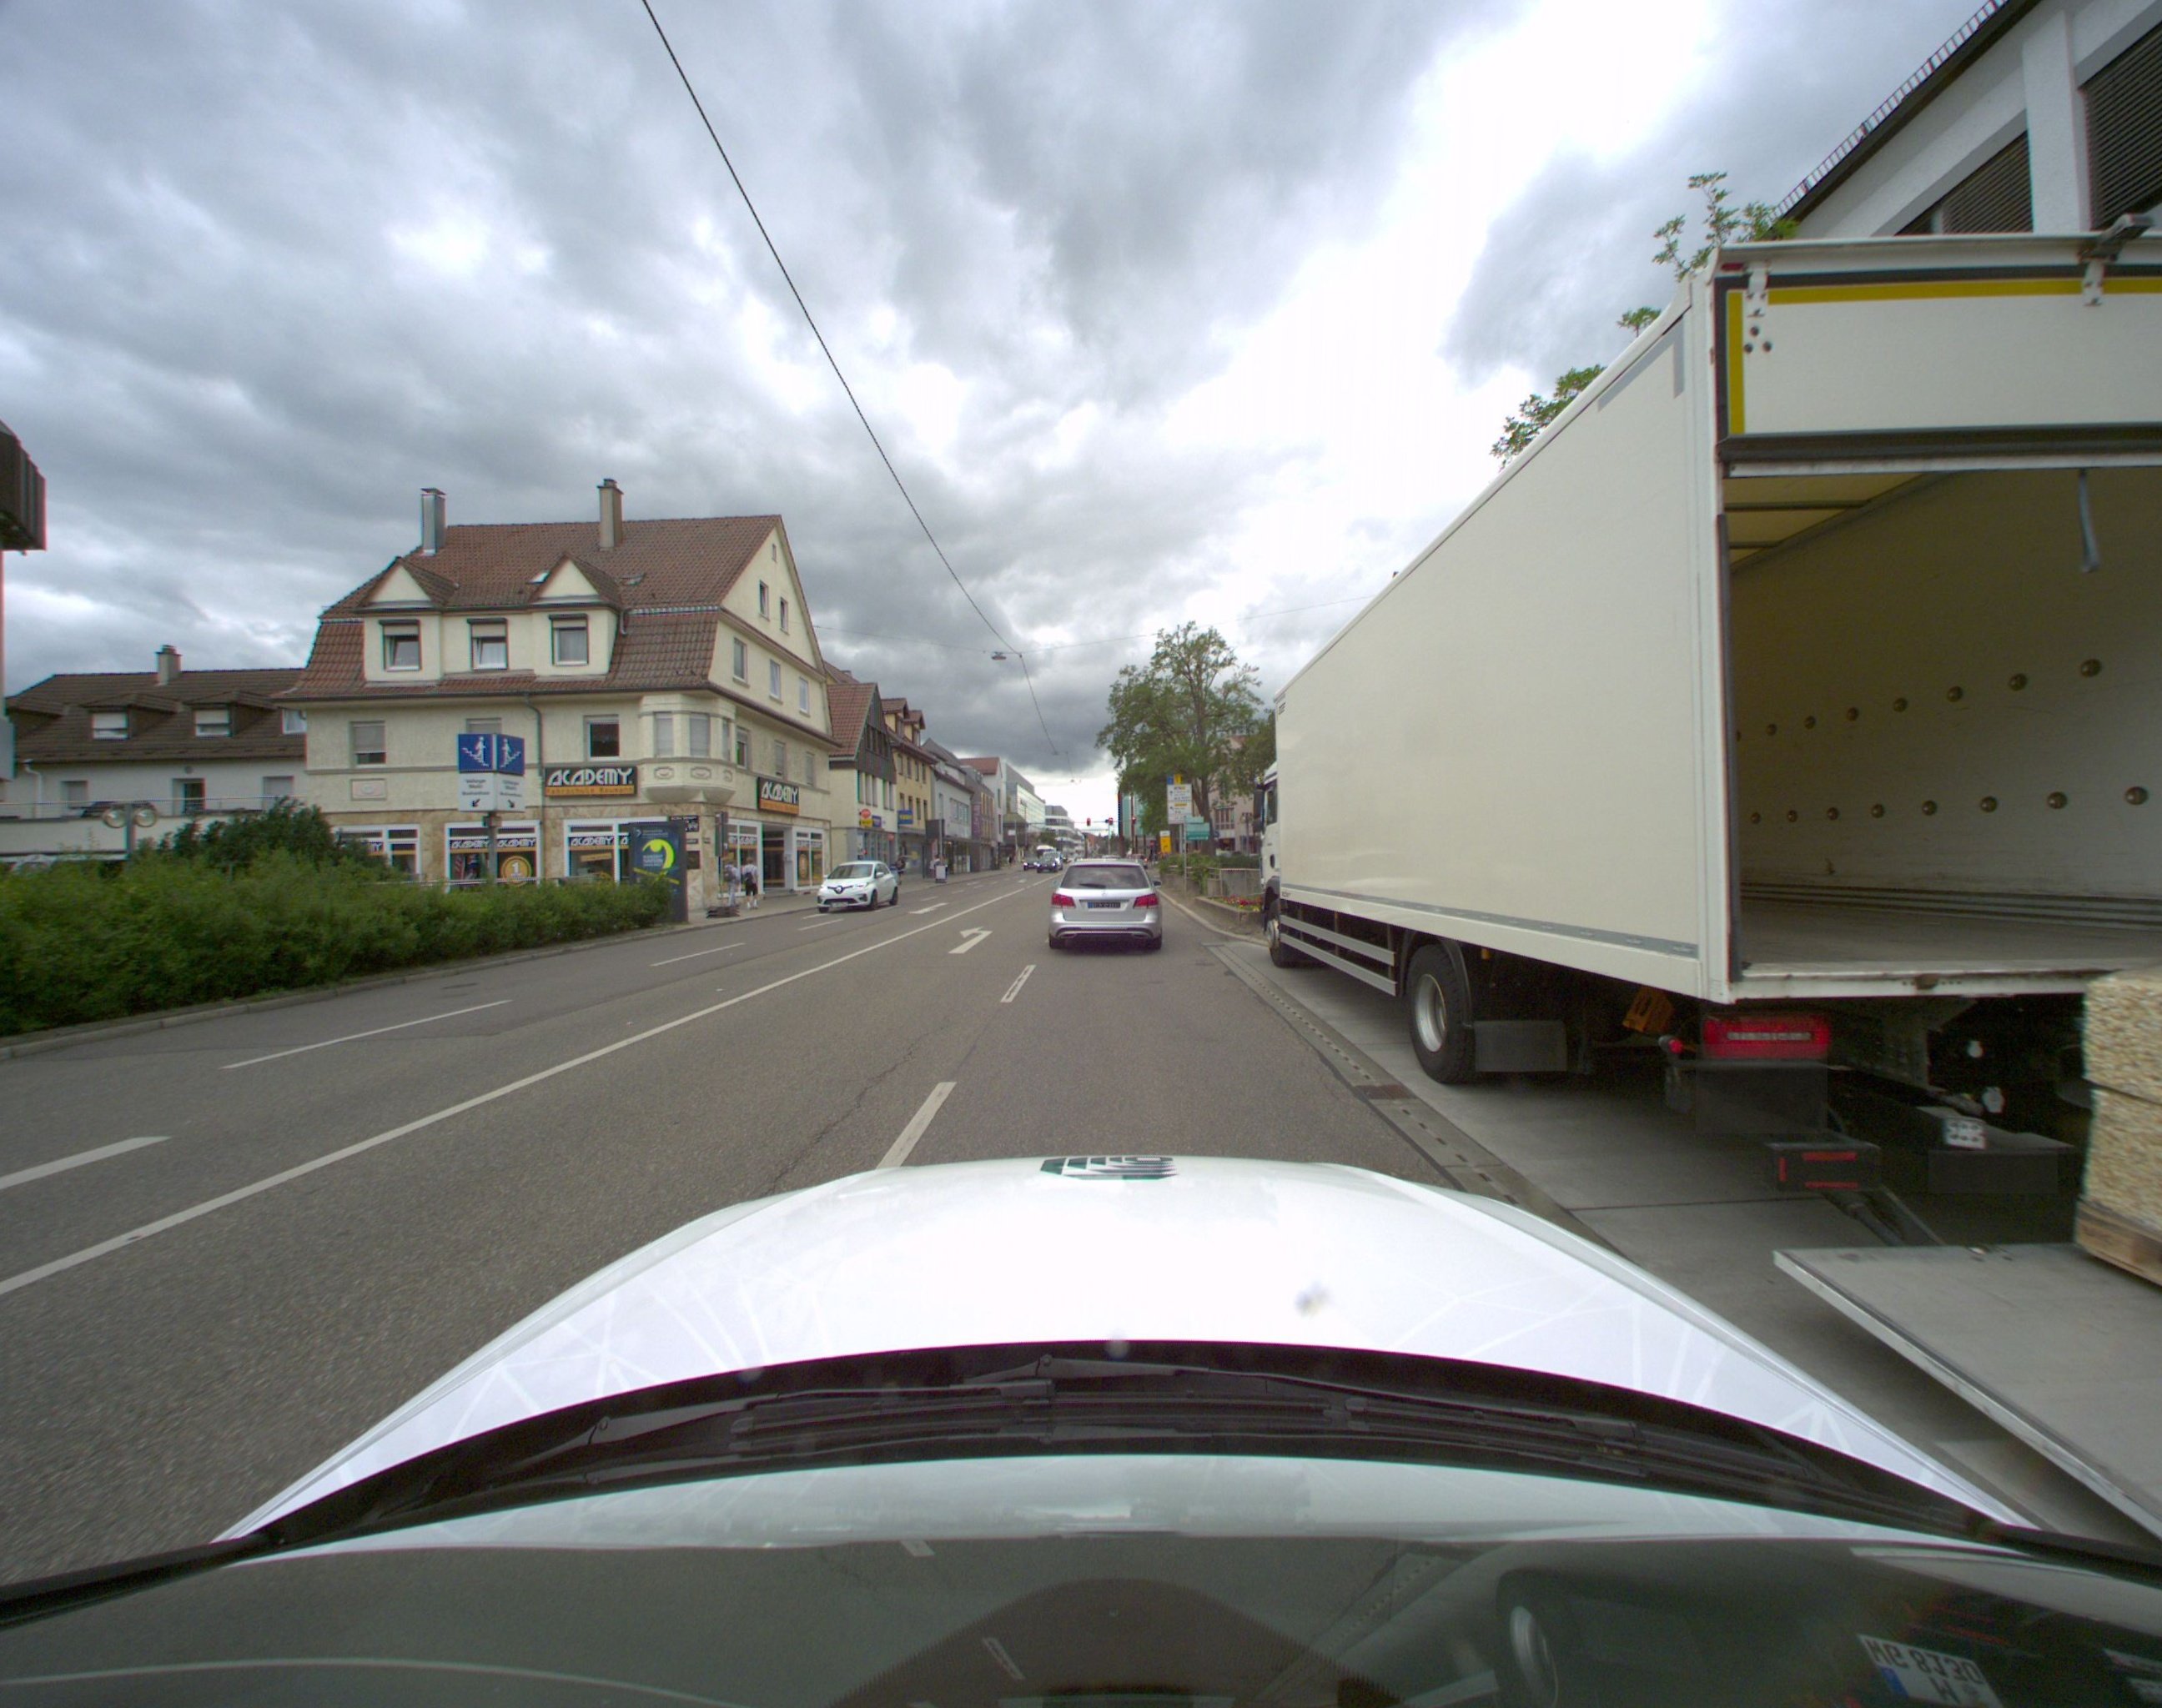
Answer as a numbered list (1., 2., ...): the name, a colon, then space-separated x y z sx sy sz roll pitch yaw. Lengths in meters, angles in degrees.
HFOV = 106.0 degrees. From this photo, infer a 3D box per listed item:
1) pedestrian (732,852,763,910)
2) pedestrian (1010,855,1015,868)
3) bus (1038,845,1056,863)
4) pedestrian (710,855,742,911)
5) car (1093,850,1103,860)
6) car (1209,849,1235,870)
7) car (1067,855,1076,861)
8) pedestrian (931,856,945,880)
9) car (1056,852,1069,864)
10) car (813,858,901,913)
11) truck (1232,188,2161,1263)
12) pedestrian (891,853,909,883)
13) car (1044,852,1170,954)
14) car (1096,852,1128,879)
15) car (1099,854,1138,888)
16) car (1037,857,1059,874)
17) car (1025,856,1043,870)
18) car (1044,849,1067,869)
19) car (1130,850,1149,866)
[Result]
1. pedestrian: -10.741 0.845 26.247 0.631 1.824 0.681 -2 0 1
2. pedestrian: -9.001 0.987 106.531 0.584 1.634 0.615 2 0 -1
3. bus: -6.232 0.048 148.960 2.764 3.165 5.936 -1 0 2
4. pedestrian: -11.463 0.938 26.305 0.685 1.761 0.681 -2 0 1
5. car: 3.551 0.204 166.364 1.986 2.013 4.001 -1 0 2
6. car: 13.152 0.508 76.255 1.859 1.864 4.003 -1 0 3
7. car: -2.074 0.956 178.462 1.568 1.244 3.609 -1 0 2
8. pedestrian: -9.585 0.925 54.536 0.815 1.634 0.979 1 0 -4
9. car: -3.394 0.755 149.104 1.986 2.013 4.002 -1 0 2
10. car: -7.101 0.953 26.206 1.634 1.568 3.927 -2 0 1
11. truck: 3.550 -0.446 7.601 2.678 3.561 9.770 -1 0 2
12. pedestrian: -10.699 0.821 48.248 0.865 1.746 0.805 2 0 -3
13. car: 0.399 0.742 14.218 1.868 1.506 3.999 -1 0 0
14. car: 2.049 0.722 54.003 1.986 1.684 4.002 -1 0 2
15. car: 1.800 0.819 39.533 1.748 1.521 4.002 -2 -1 2
16. car: -2.995 1.018 73.866 1.610 1.428 3.925 -2 0 3
17. car: -5.278 1.017 92.148 1.611 1.523 3.509 -3 0 2
18. car: -2.636 0.523 84.030 1.954 1.960 5.142 -3 0 2
19. car: 6.641 0.421 92.514 1.986 1.684 4.002 -1 0 2
